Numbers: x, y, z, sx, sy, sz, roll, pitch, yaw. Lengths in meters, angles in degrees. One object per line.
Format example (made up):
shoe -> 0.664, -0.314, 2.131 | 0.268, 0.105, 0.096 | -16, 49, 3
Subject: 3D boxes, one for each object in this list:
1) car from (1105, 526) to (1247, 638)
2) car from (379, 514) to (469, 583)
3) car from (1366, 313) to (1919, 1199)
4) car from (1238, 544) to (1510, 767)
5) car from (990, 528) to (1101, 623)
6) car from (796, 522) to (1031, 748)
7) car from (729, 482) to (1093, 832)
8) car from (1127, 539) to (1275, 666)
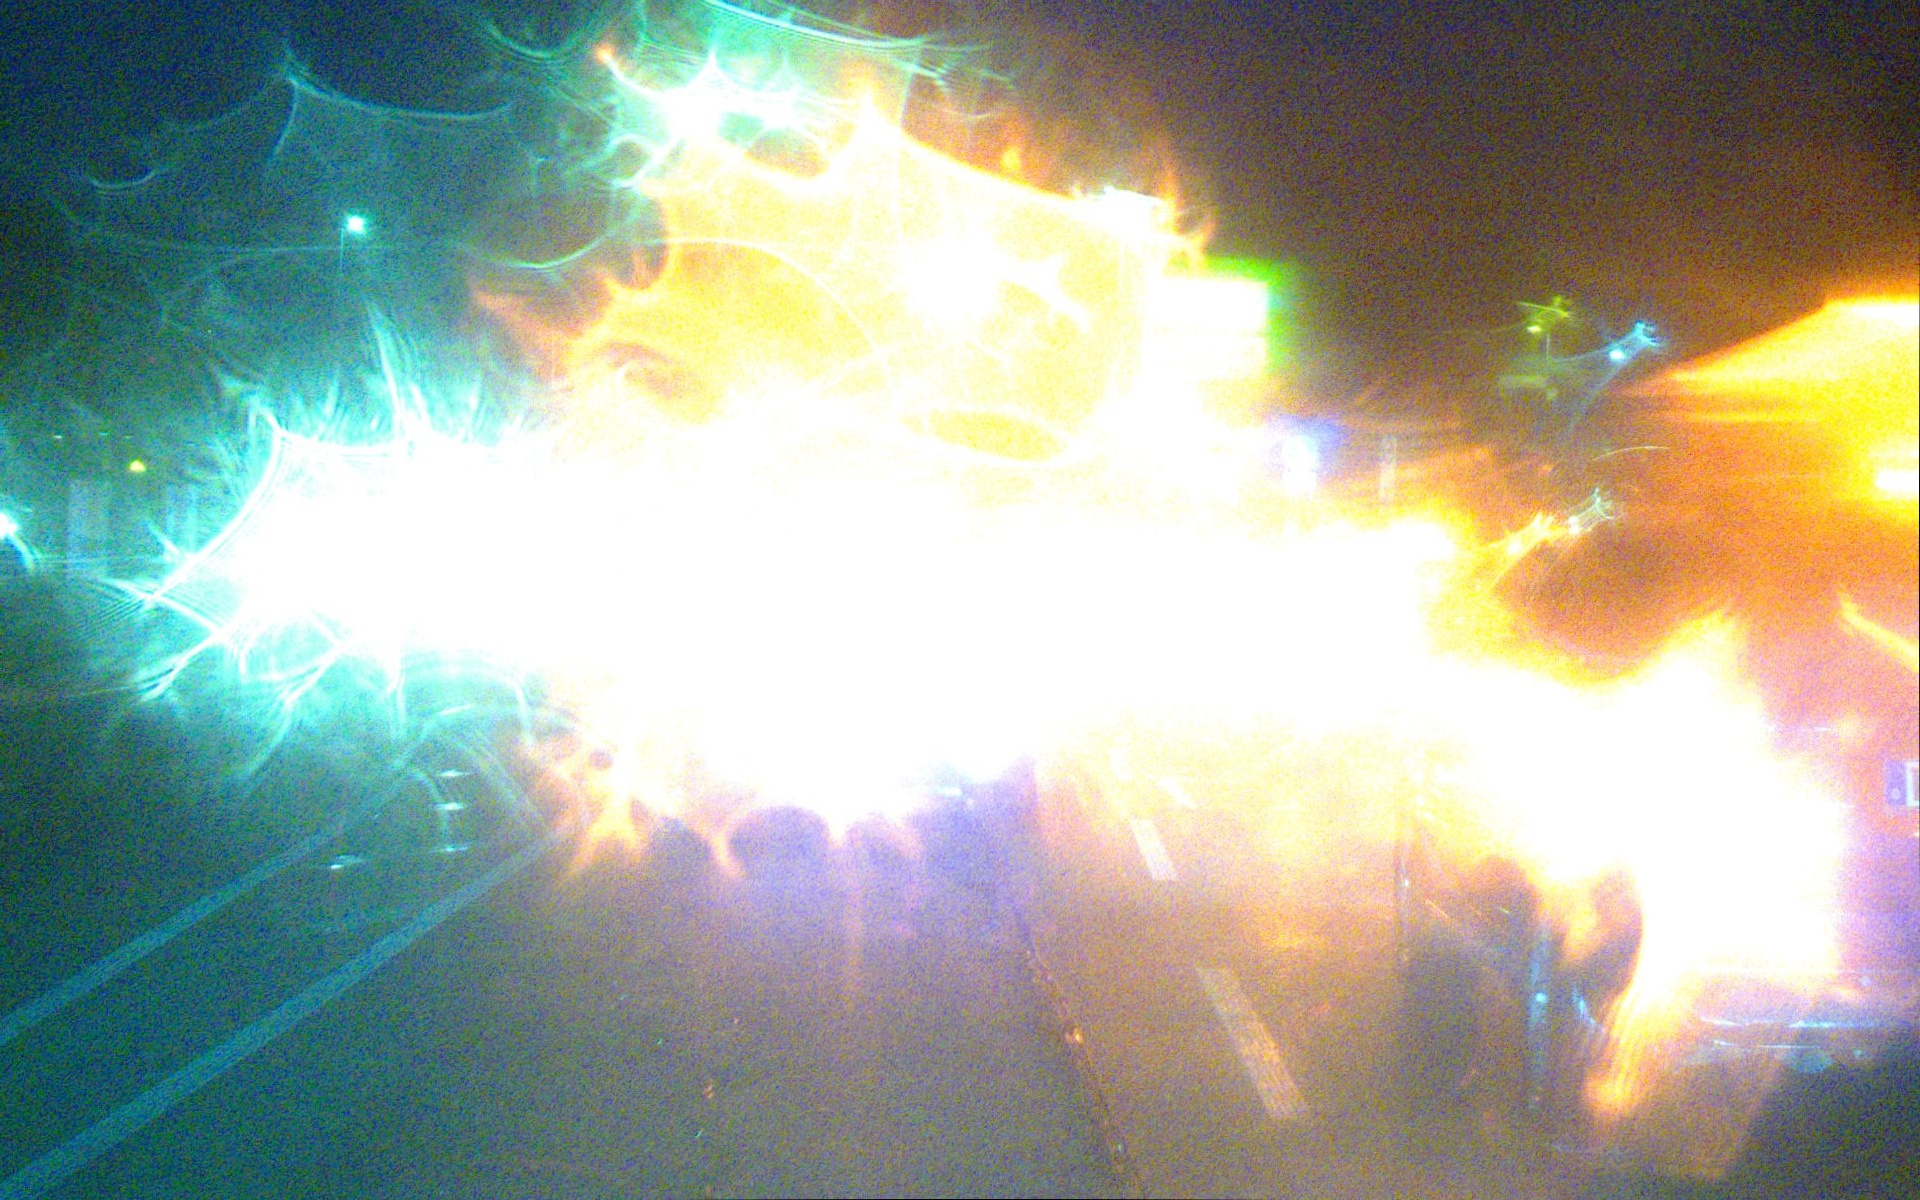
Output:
car -> 2.967, -0.287, 47.909 | 1.663, 1.445, 4.050 | 1, 2, 0
car -> -15.469, -1.504, 99.040 | 1.993, 1.905, 4.744 | 0, 1, -15
car -> 2.323, 0.323, 9.493 | 1.942, 1.965, 4.218 | 1, 2, 1
car -> 2.985, 0.345, 25.495 | 1.768, 1.445, 4.218 | 1, 2, 4
car -> 1.331, -0.395, 54.745 | 1.663, 1.445, 4.050 | 1, 1, 0
car -> -0.305, 0.216, 27.129 | 1.709, 1.632, 3.730 | -1, 1, 1
car -> -0.212, 0.244, 18.262 | 1.694, 1.624, 3.853 | 1, 1, 1
car -> 2.857, 0.007, 41.322 | 1.663, 1.445, 4.049 | 0, 1, 3
